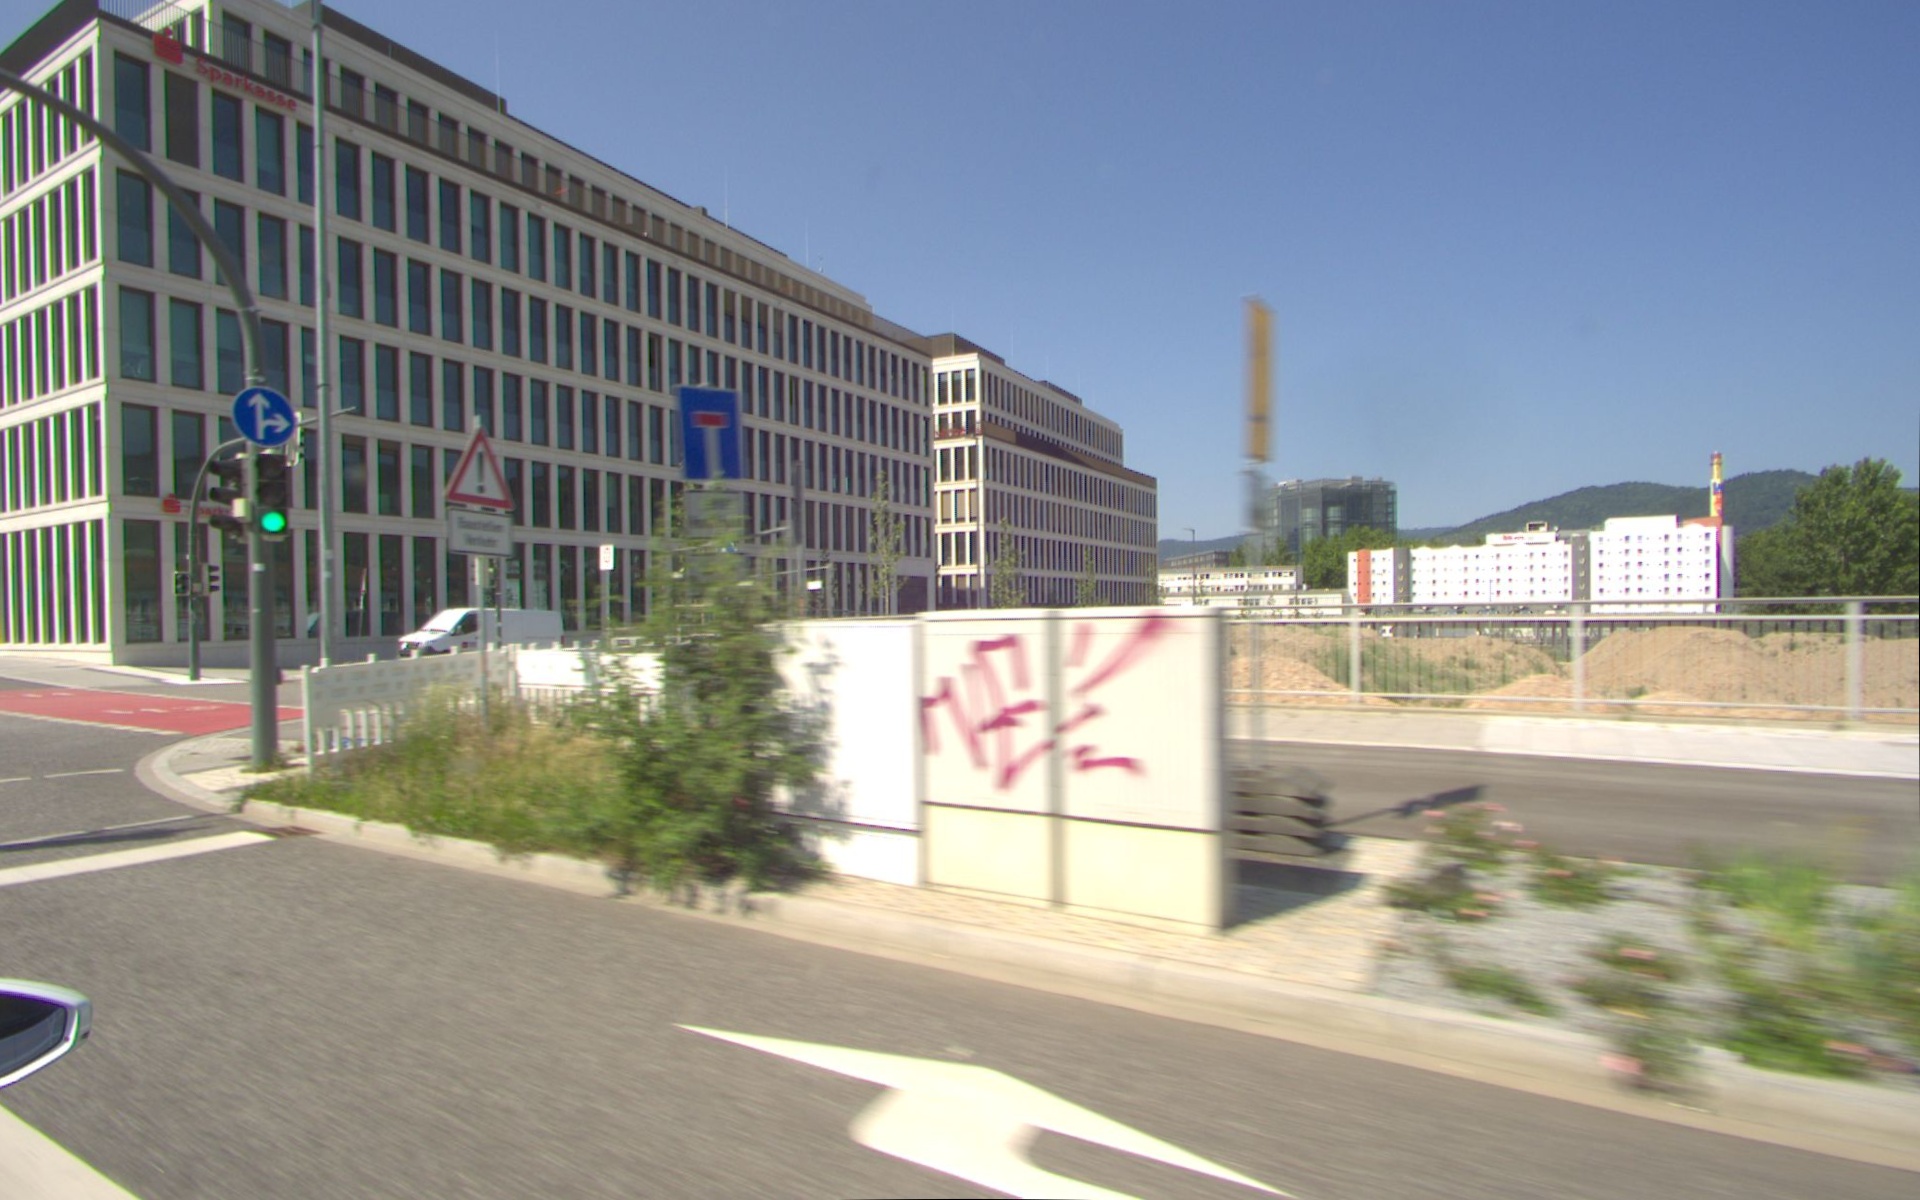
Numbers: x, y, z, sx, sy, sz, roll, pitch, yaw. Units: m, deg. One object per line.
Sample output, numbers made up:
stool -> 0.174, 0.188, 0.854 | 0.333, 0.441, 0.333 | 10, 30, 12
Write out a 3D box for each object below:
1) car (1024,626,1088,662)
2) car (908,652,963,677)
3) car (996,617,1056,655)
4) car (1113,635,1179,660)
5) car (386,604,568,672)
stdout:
car -> 4.611, 2.075, 47.717 | 1.633, 1.614, 3.676 | -1, -2, 31
car -> -1.464, 3.964, 61.243 | 1.744, 1.416, 3.659 | 0, -5, 29
car -> 5.050, 2.744, 75.705 | 2.046, 2.503, 6.131 | 0, -5, 29
car -> 18.900, 4.816, 101.733 | 6.240, 2.504, 2.241 | -1, -4, 24
car -> -17.648, 1.430, 36.934 | 2.115, 2.298, 5.831 | 0, -3, 31
